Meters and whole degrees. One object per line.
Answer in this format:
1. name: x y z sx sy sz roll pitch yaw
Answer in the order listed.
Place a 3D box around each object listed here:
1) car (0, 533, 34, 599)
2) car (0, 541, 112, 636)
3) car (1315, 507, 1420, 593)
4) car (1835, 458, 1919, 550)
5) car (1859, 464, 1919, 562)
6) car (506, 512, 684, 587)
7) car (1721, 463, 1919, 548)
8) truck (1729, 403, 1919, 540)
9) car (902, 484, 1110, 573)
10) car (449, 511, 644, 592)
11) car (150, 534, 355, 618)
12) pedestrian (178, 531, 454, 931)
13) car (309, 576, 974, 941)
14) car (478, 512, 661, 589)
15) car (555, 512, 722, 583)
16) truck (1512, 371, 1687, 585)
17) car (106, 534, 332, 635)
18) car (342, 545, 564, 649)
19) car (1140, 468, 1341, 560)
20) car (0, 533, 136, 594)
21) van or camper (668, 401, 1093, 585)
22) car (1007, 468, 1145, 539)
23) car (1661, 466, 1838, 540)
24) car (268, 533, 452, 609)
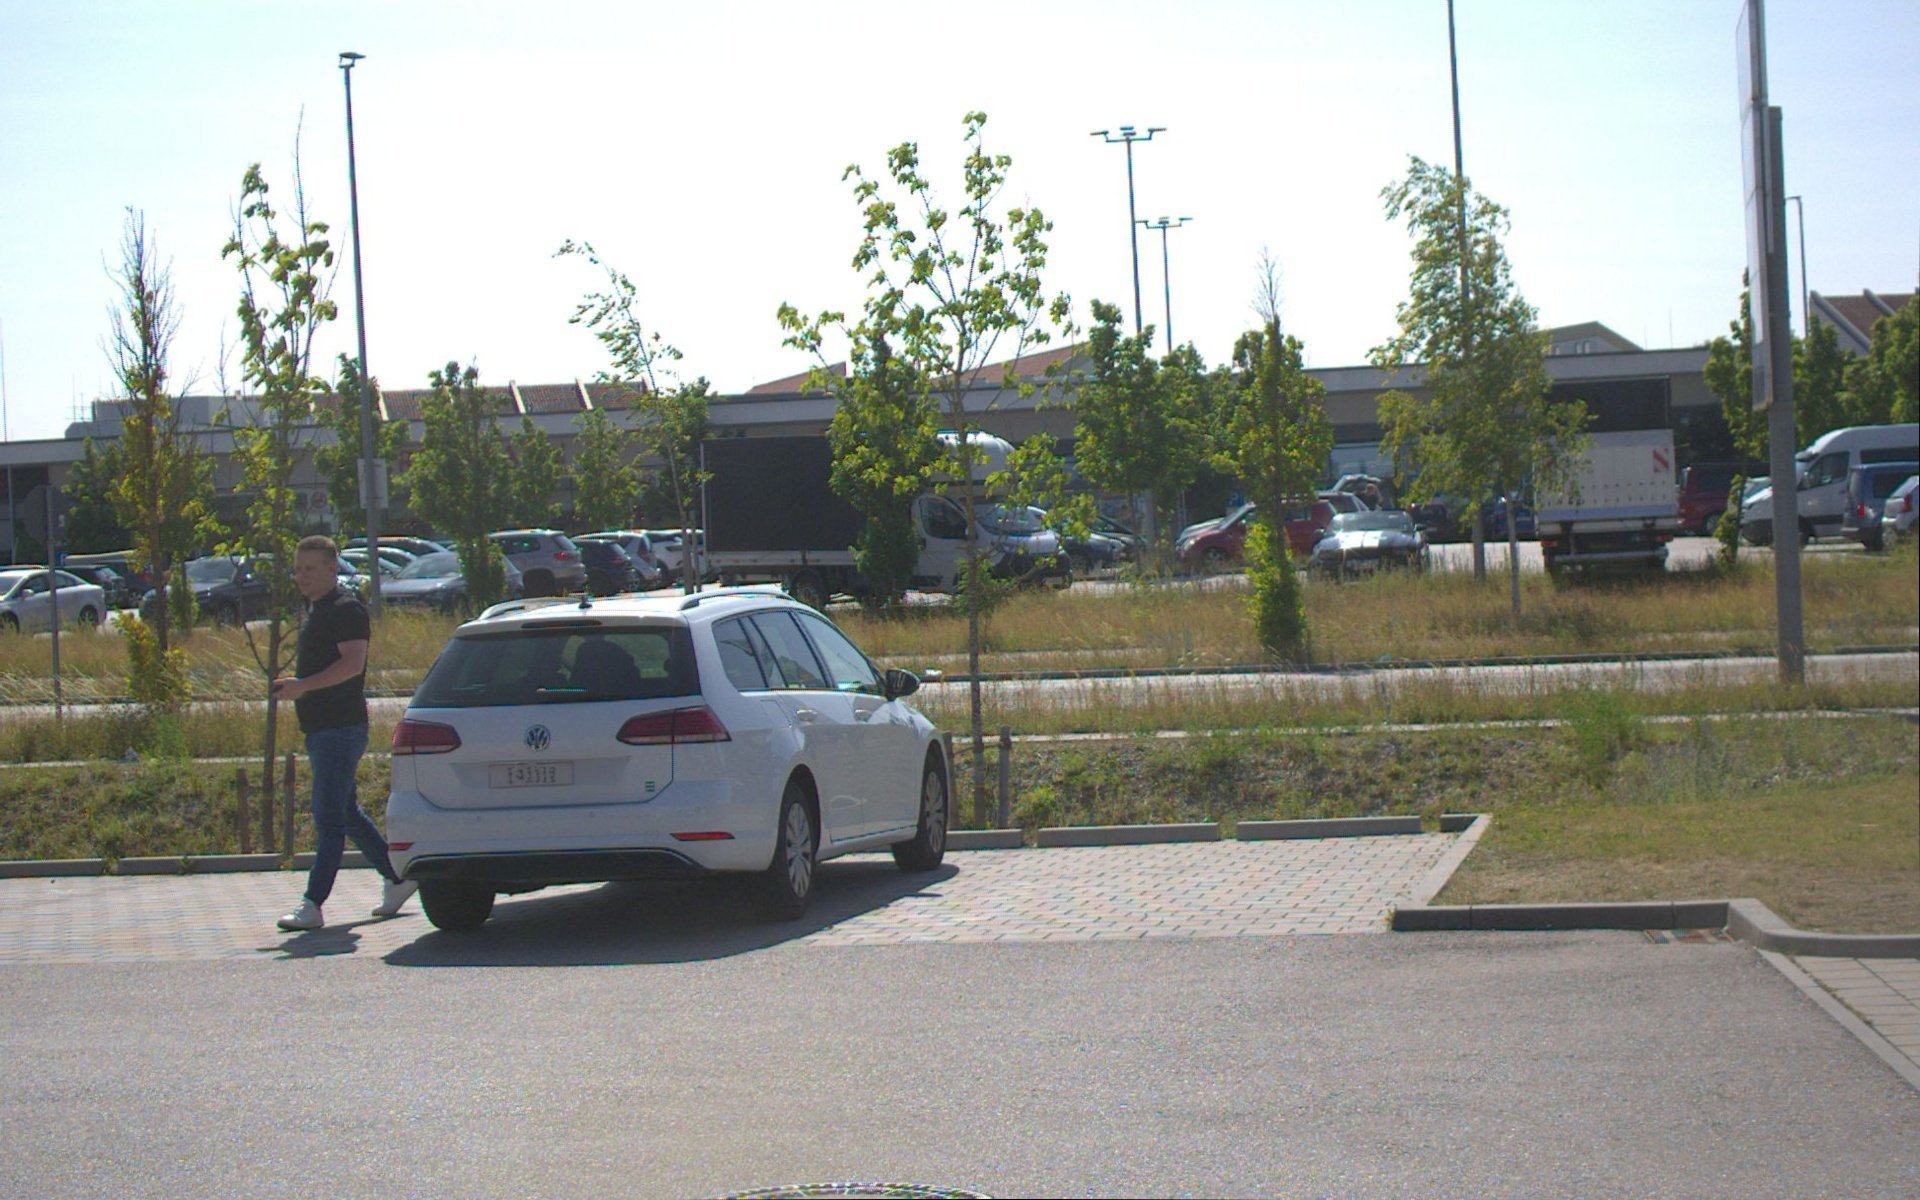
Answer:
1. car: -29.340 -0.928 99.345 4.559 1.849 1.955 -2 1 5
2. car: -19.597 -0.225 70.250 1.996 1.849 4.280 -1 1 28
3. car: 7.345 -0.916 61.696 1.650 1.454 3.965 -2 1 9
4. car: 20.569 -2.032 71.251 4.391 1.849 1.955 -2 1 5
5. car: 19.757 -1.728 66.253 4.391 1.849 1.955 -2 1 5
6. car: -9.703 -1.359 91.675 4.391 1.849 1.955 -2 1 5
7. car: 20.378 -2.226 81.298 4.391 1.849 1.955 -2 1 5
8. truck: 20.295 -2.796 74.008 7.036 2.805 1.955 -2 1 5
9. car: 1.101 -1.734 83.364 4.916 2.007 2.082 -2 1 1
10. car: -10.133 -1.201 84.449 4.391 1.849 1.955 -2 1 5
11. car: -16.964 -0.589 82.540 4.391 1.849 1.955 -2 1 5
12. pedestrian: -3.033 0.597 16.200 0.991 1.803 0.726 -2 0 -39
13. car: -1.335 0.657 16.475 1.828 1.464 4.479 -2 0 13
14. car: -10.121 -1.301 89.367 4.391 1.849 1.955 -2 1 5
15. car: -9.113 -1.496 97.627 4.391 1.849 1.955 -2 1 5
16. truck: 11.198 -2.107 60.426 2.760 3.468 6.830 -2 1 10
17. car: -14.639 -0.331 68.170 1.952 1.849 4.398 -1 1 28
18. car: -9.711 -0.079 66.132 1.952 1.849 4.398 -1 1 28
19. car: 6.074 -1.860 74.600 4.254 1.849 1.870 -2 1 5
20. car: -29.355 -1.183 112.099 4.391 1.849 1.955 -2 1 5
21. van or camper: -1.560 -1.909 63.284 8.046 3.091 2.414 -1 1 38
22. car: 3.551 -2.926 104.703 3.988 2.007 2.000 -2 1 8
23. car: 21.470 -2.641 93.606 4.391 1.849 1.955 -2 1 5
24. car: -15.795 -0.785 90.634 4.391 1.849 1.955 -2 1 5
